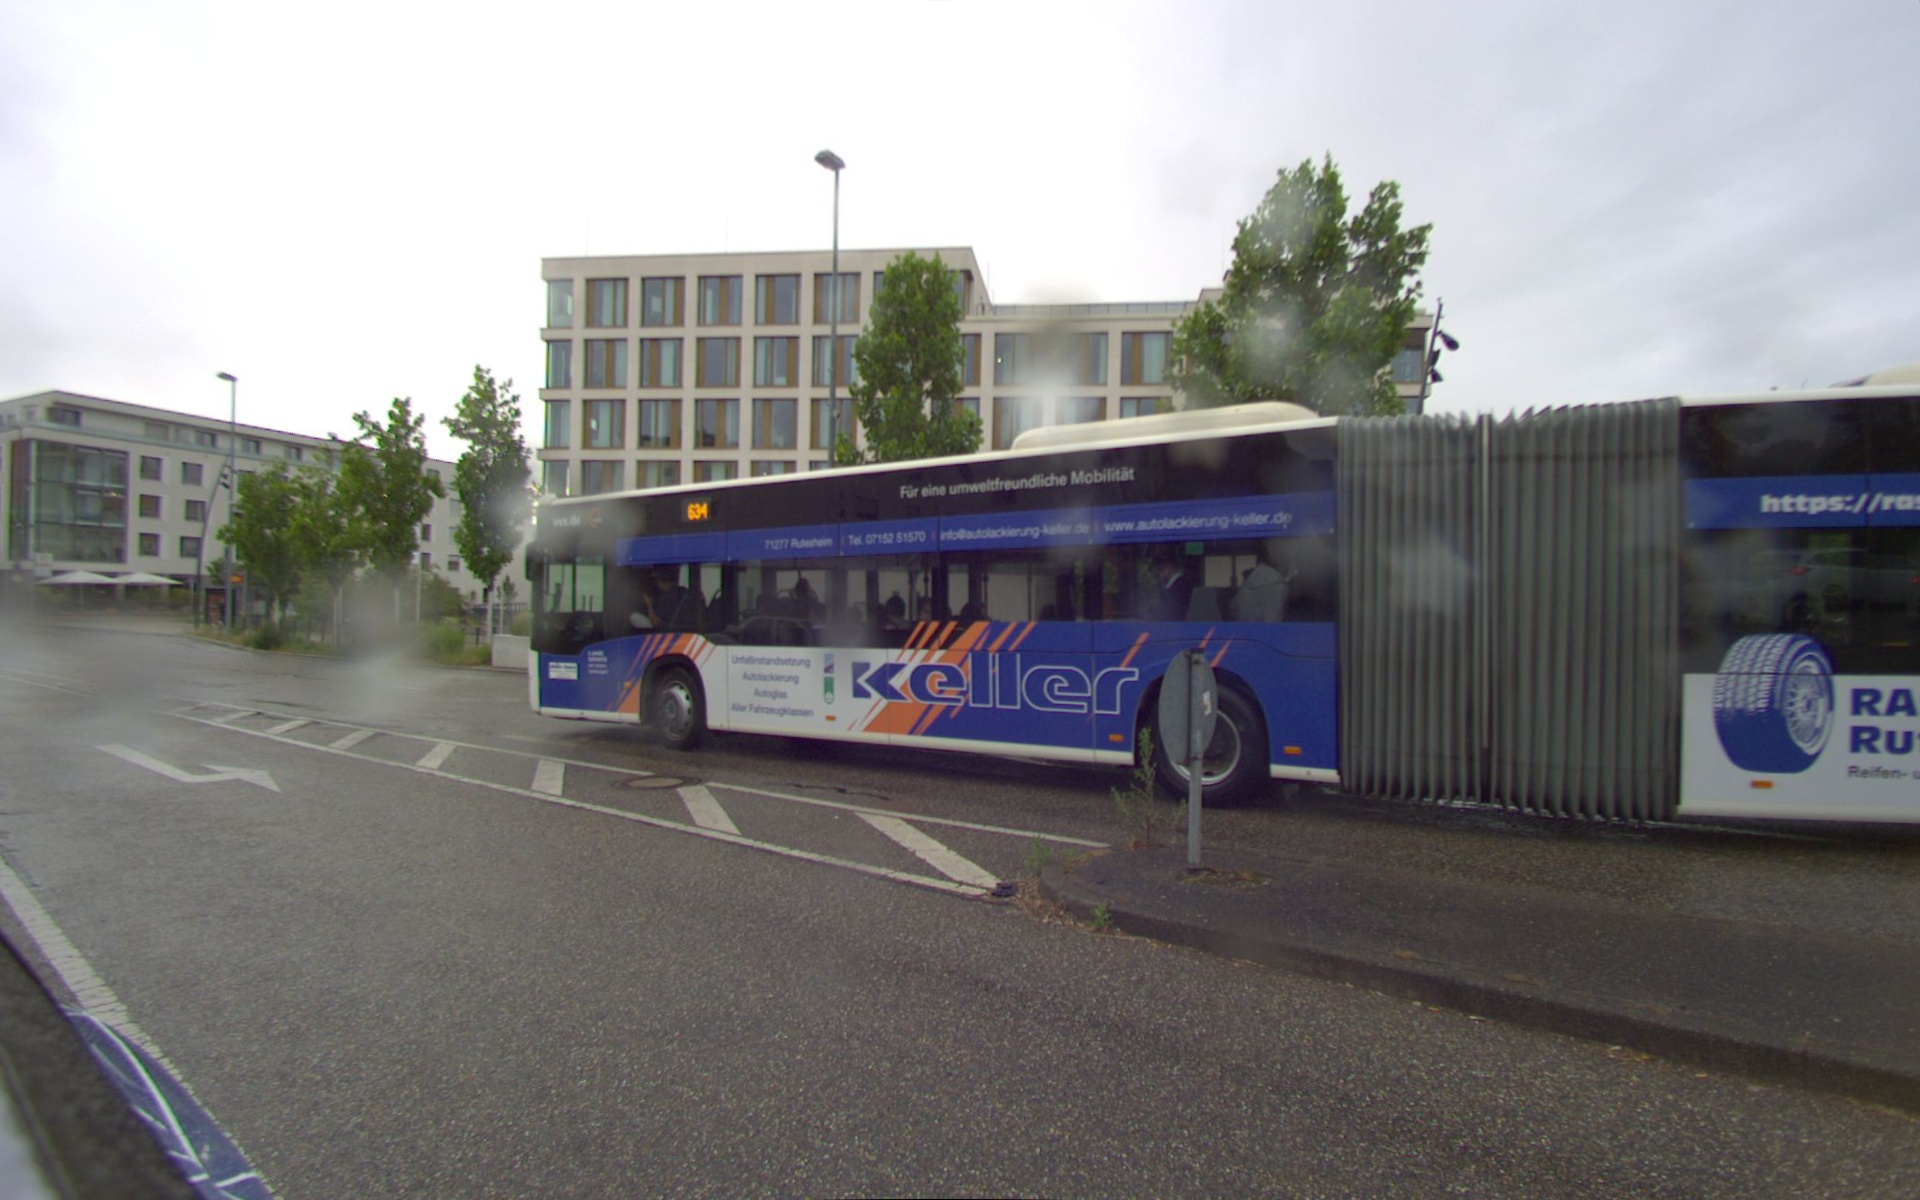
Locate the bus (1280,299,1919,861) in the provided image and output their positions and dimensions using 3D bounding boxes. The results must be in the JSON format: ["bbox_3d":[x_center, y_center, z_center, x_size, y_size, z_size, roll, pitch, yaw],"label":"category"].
[{"bbox_3d":[7.063,-0.086,6.626,9.278,3.138,2.773,0,-1,14],"label":"bus"}]

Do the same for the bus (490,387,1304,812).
[{"bbox_3d":[-1.131,0.042,10.980,8.853,3.138,2.771,0,-2,32],"label":"bus"}]
